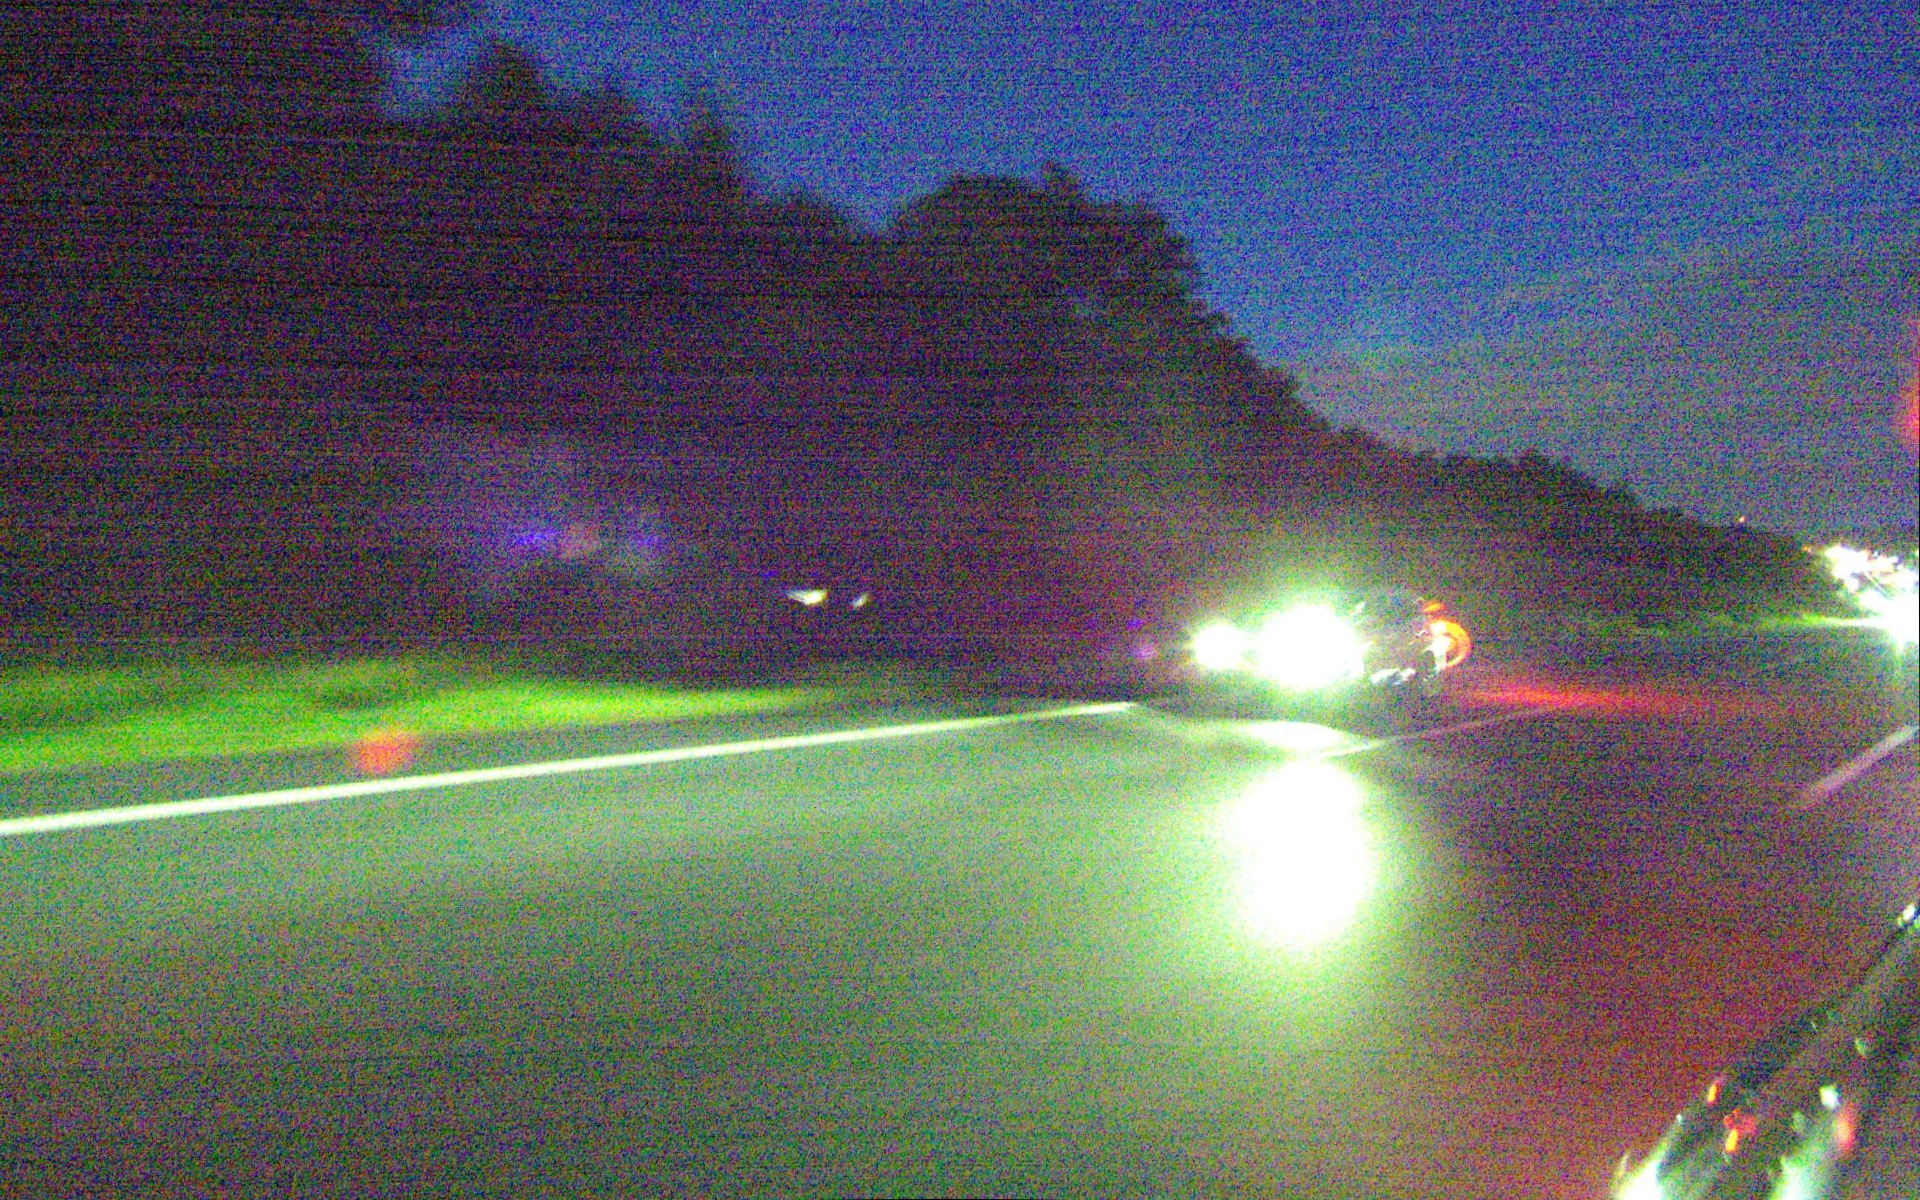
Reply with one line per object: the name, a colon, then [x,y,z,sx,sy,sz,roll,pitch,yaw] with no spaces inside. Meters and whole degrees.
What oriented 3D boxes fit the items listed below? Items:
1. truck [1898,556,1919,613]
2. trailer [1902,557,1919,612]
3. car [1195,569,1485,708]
truck: [77.553,-1.231,80.919,6.878,4.489,3.340,-1,0,-44]
trailer: [83.190,-1.307,86.353,13.352,4.489,3.340,-1,0,-44]
car: [5.829,0.467,15.143,5.079,1.739,1.996,0,0,-42]
